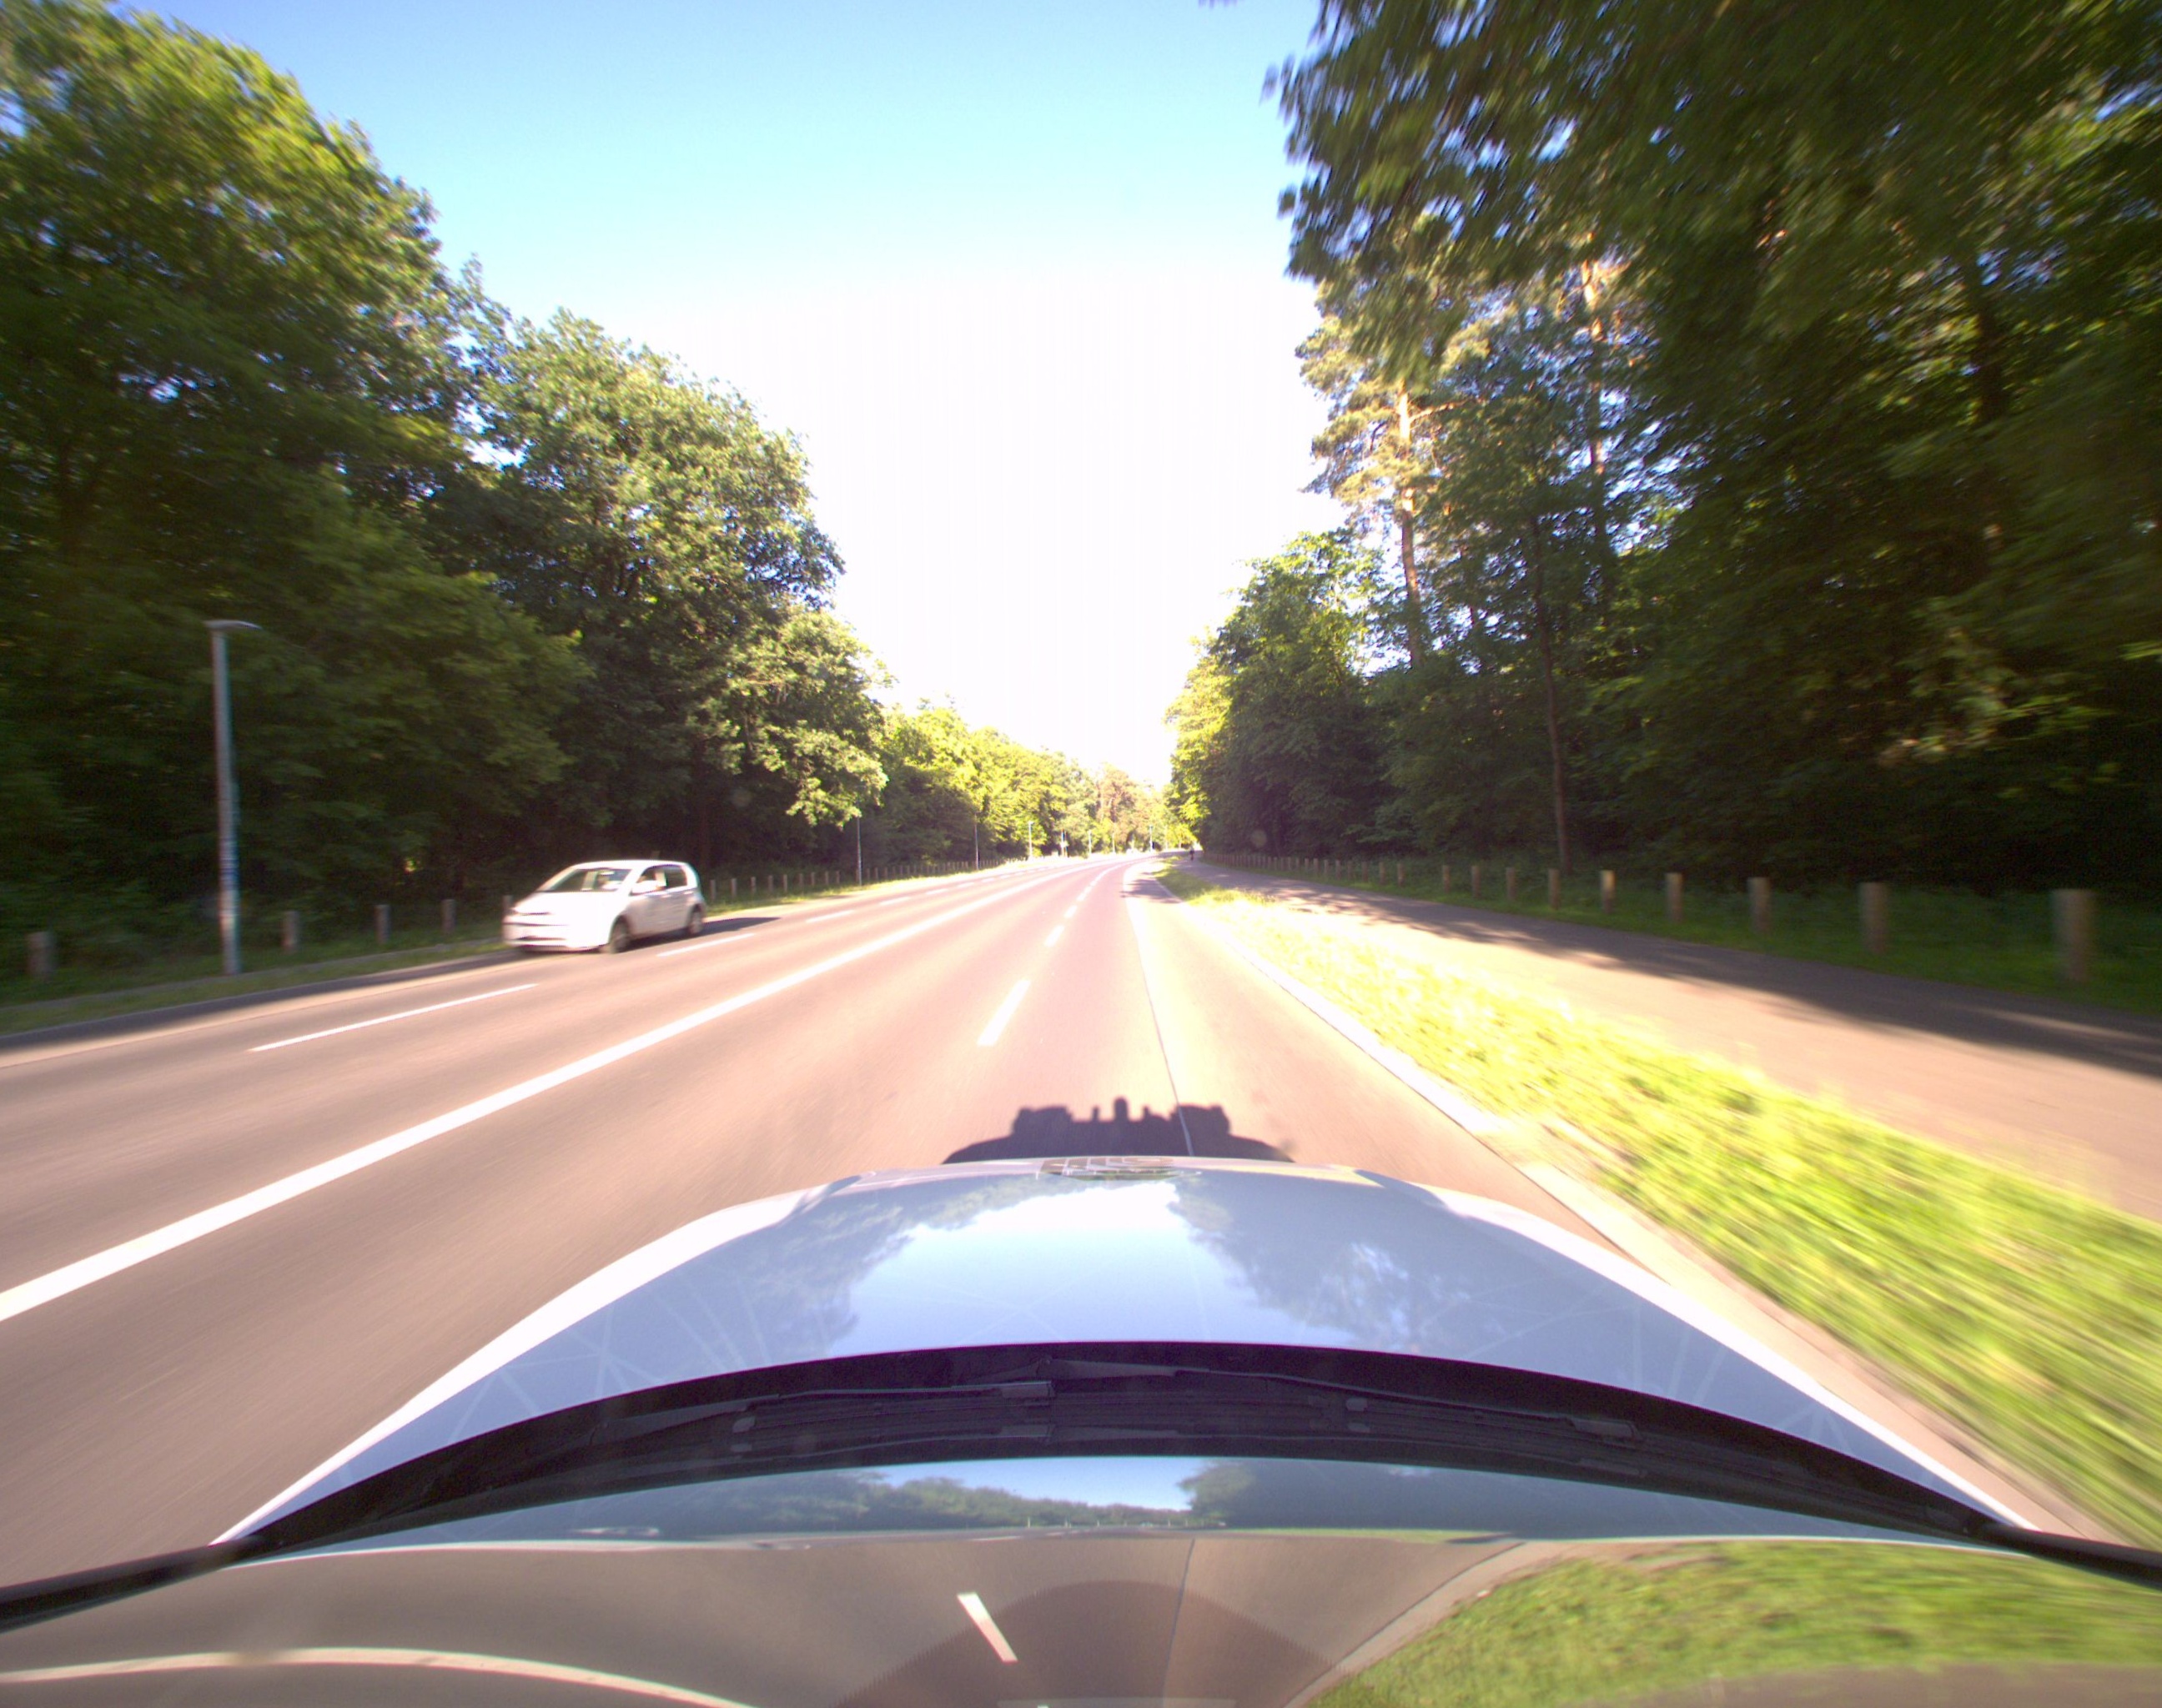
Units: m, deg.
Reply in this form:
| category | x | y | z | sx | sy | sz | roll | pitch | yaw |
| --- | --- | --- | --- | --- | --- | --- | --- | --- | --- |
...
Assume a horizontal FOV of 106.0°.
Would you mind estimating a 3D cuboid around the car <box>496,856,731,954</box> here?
| category | x | y | z | sx | sy | sz | roll | pitch | yaw |
| --- | --- | --- | --- | --- | --- | --- | --- | --- | --- |
| car | -8.064 | 0.790 | 14.589 | 1.581 | 1.437 | 4.311 | 0 | 1 | 2 |

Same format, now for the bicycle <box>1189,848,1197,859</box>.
| category | x | y | z | sx | sy | sz | roll | pitch | yaw |
| --- | --- | --- | --- | --- | --- | --- | --- | --- | --- |
| bicycle | 11.678 | -0.051 | 84.769 | 0.708 | 1.055 | 2.058 | -2 | 0 | 8 |
